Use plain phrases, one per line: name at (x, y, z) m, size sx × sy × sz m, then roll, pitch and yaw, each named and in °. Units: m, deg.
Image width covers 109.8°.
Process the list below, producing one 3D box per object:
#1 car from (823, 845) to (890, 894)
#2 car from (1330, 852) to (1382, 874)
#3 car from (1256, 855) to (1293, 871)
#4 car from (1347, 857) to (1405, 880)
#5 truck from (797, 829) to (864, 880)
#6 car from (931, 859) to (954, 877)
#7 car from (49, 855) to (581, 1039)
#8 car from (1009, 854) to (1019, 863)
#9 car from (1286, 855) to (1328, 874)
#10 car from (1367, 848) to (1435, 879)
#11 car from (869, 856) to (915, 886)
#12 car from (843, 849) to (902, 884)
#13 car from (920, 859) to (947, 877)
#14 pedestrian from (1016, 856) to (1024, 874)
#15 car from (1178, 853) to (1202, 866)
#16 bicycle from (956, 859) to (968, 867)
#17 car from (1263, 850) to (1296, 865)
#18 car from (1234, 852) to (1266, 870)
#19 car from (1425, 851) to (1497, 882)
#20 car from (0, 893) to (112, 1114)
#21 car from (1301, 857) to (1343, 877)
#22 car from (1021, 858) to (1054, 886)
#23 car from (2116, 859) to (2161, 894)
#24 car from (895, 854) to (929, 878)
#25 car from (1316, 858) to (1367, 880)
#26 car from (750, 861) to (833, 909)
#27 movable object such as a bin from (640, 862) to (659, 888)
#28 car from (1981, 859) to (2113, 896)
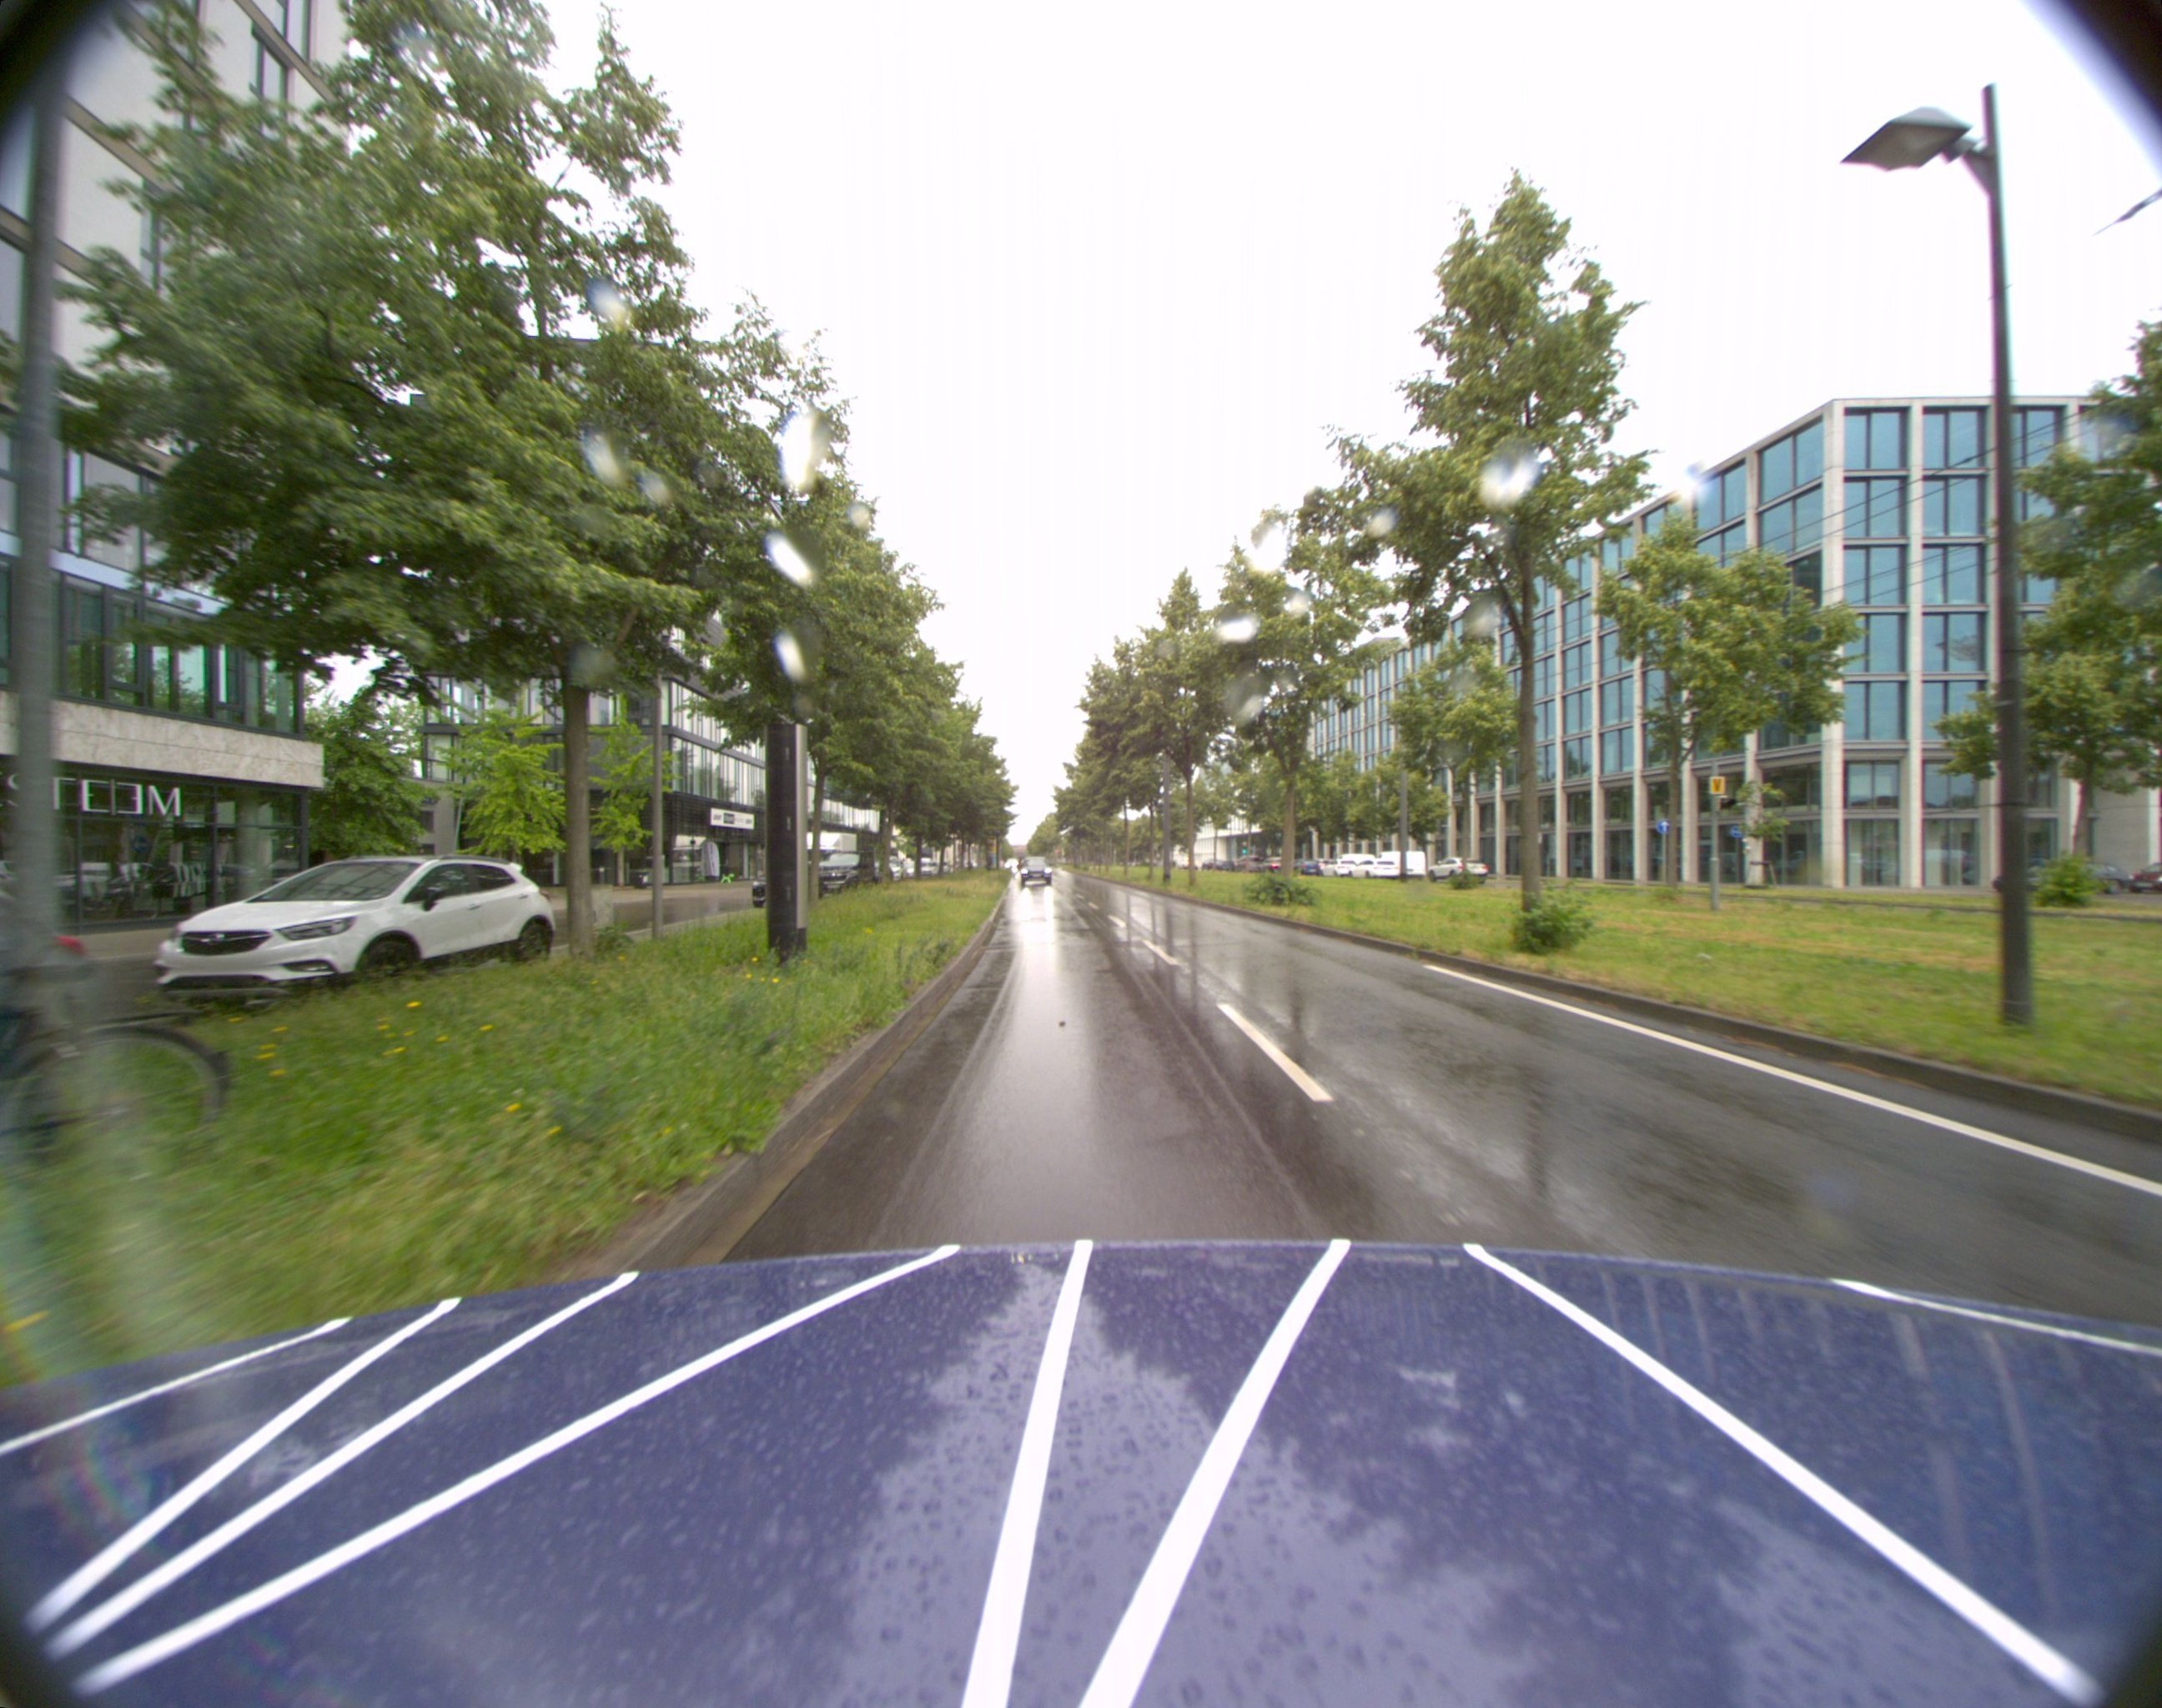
car at (-9.736, 0.715, 33.359) m, size 2.000 × 1.940 × 5.028 m, roll -1°, pitch -2°, yaw -7°
car at (22.431, 0.792, 62.125) m, size 1.957 × 1.641 × 5.029 m, roll -1°, pitch -2°, yaw -6°
car at (18.087, 0.888, 71.317) m, size 1.956 × 1.377 × 4.604 m, roll -1°, pitch -2°, yaw -5°
car at (19.721, 1.025, 51.076) m, size 1.956 × 1.452 × 4.832 m, roll -1°, pitch -2°, yaw -1°
truck at (-18.431, 0.036, 56.433) m, size 3.034 × 3.421 × 8.542 m, roll -1°, pitch 0°, yaw -7°
car at (-13.312, 1.364, 73.262) m, size 1.766 × 1.586 × 4.100 m, roll -1°, pitch -2°, yaw -4°
car at (-8.631, 0.945, 9.411) m, size 1.999 × 1.659 × 4.723 m, roll -1°, pitch -2°, yaw -4°
car at (-12.977, 0.916, 147.206) m, size 1.688 × 1.520 × 3.968 m, roll -1°, pitch -2°, yaw -6°
car at (19.006, 0.913, 64.051) m, size 1.957 × 1.485 × 3.961 m, roll -1°, pitch -2°, yaw -6°
car at (22.729, 0.733, 54.215) m, size 2.274 × 1.994 × 5.373 m, roll -1°, pitch -2°, yaw -3°
car at (-11.567, 1.005, 46.803) m, size 1.999 × 1.659 × 4.722 m, roll -3°, pitch 0°, yaw -5°
car at (-10.986, 0.686, 40.422) m, size 1.999 × 1.659 × 4.957 m, roll -2°, pitch -1°, yaw -4°
car at (-12.944, 1.222, 67.037) m, size 2.000 × 1.436 × 5.233 m, roll -1°, pitch 0°, yaw -7°
pedestrian at (-5.011, 0.889, 62.628) m, size 0.644 × 1.484 × 0.699 m, roll -1°, pitch 1°, yaw -6°
car at (13.530, 0.679, 94.487) m, size 1.956 × 1.444 × 4.574 m, roll -1°, pitch 0°, yaw -5°
bicycle at (-15.154, 1.153, 96.897) m, size 1.458 × 0.911 × 0.434 m, roll -2°, pitch -2°, yaw 28°
car at (21.040, 0.404, 80.646) m, size 1.957 × 1.377 × 4.271 m, roll -1°, pitch -2°, yaw -6°
car at (17.710, 0.745, 79.751) m, size 1.956 × 1.837 × 4.542 m, roll -1°, pitch -1°, yaw -5°
car at (22.963, 0.711, 46.144) m, size 1.956 × 1.739 × 4.575 m, roll -1°, pitch 0°, yaw -1°
car at (-8.057, 1.013, 3.910) m, size 1.630 × 1.482 × 3.654 m, roll -1°, pitch -1°, yaw -5°
car at (21.823, 1.198, 68.994) m, size 1.957 × 1.735 × 4.632 m, roll -1°, pitch -2°, yaw -6°
car at (-2.741, 1.072, 47.846) m, size 1.929 × 1.650 × 4.714 m, roll 0°, pitch 0°, yaw -3°
car at (50.668, 1.006, 34.772) m, size 4.158 × 1.599 × 1.745 m, roll -1°, pitch -2°, yaw -1°
car at (-11.730, 0.869, 52.987) m, size 1.775 × 1.443 × 4.722 m, roll -4°, pitch -1°, yaw -7°
car at (19.573, 1.109, 57.374) m, size 1.956 × 1.504 × 4.574 m, roll -1°, pitch 0°, yaw -5°
car at (-10.164, 1.024, 27.027) m, size 1.963 × 1.504 × 4.478 m, roll -1°, pitch 0°, yaw -10°
movable object such as a bin at (-21.237, 1.022, 37.392) m, size 0.609 × 1.268 × 0.648 m, roll -1°, pitch -2°, yaw -8°
car at (44.284, 1.082, 34.877) m, size 3.798 × 1.599 × 1.745 m, roll -1°, pitch -2°, yaw -1°
